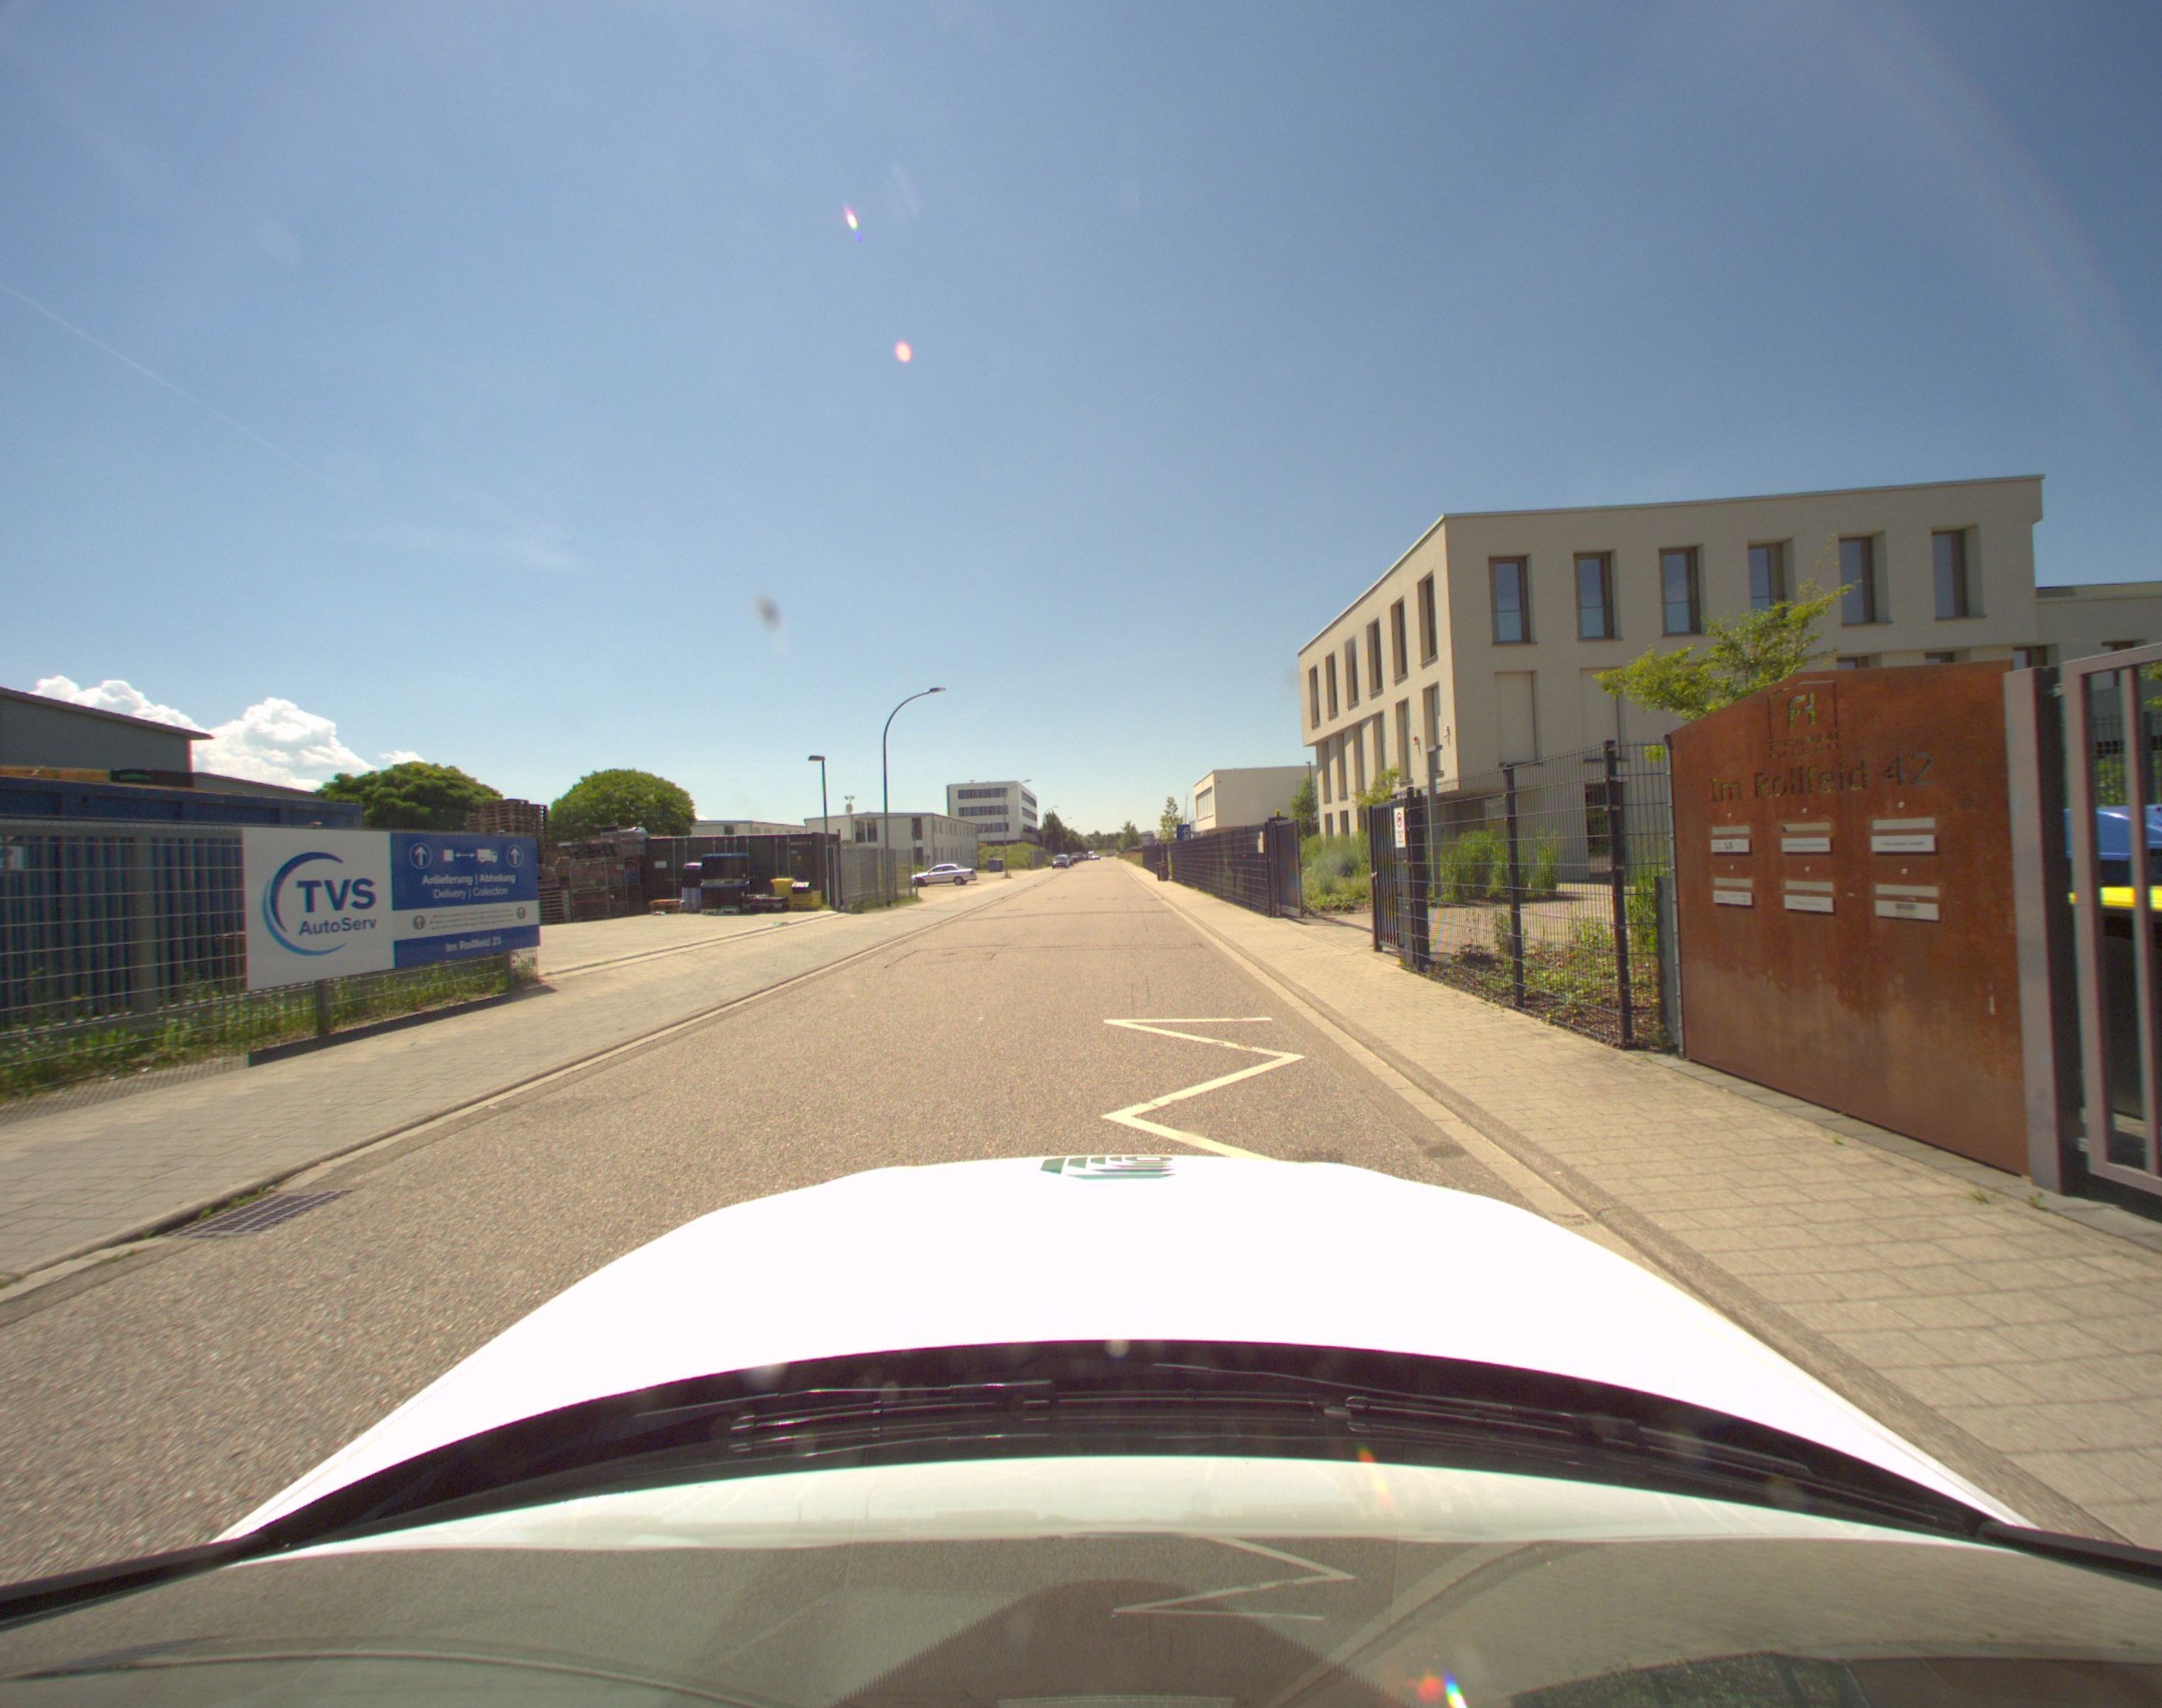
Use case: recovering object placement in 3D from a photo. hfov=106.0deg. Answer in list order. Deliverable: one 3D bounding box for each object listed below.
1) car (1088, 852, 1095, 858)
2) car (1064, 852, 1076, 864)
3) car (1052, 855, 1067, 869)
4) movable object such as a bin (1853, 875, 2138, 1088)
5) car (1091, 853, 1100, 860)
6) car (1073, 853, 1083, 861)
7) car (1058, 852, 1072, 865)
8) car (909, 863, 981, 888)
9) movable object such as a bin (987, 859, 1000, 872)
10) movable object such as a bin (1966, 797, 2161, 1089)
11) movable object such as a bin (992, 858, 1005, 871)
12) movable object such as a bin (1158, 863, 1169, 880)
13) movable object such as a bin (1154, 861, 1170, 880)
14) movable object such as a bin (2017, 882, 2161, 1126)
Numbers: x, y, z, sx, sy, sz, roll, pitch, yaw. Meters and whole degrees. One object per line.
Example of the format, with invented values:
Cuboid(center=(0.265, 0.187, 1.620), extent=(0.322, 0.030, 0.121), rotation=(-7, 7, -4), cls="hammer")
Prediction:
Cuboid(center=(2.727, 0.233, 216.313), extent=(1.797, 1.557, 4.002), rotation=(-3, 0, 2), cls="car")
Cuboid(center=(-1.501, 0.530, 110.565), extent=(1.461, 1.489, 3.209), rotation=(-2, 0, 2), cls="car")
Cuboid(center=(-2.507, 0.893, 94.407), extent=(1.461, 1.489, 3.209), rotation=(-2, 0, 2), cls="car")
Cuboid(center=(5.101, 0.662, 4.616), extent=(0.541, 1.036, 0.913), rotation=(-3, 0, 1), cls="movable object such as a bin")
Cuboid(center=(3.305, 0.535, 182.818), extent=(1.797, 1.557, 4.002), rotation=(-3, 0, 2), cls="car")
Cuboid(center=(-0.581, 0.544, 149.690), extent=(1.638, 1.489, 3.209), rotation=(-2, 0, 2), cls="car")
Cuboid(center=(-1.998, 0.571, 101.289), extent=(1.461, 1.489, 3.209), rotation=(-2, 0, 2), cls="car")
Cuboid(center=(-8.865, 1.377, 53.283), extent=(4.262, 1.364, 1.898), rotation=(-3, 0, 1), cls="car")
Cuboid(center=(-9.486, 1.250, 88.291), extent=(1.282, 1.412, 1.805), rotation=(-2, 0, -2), cls="movable object such as a bin")
Cuboid(center=(6.058, 0.413, 4.449), extent=(1.329, 1.459, 0.949), rotation=(-3, -1, 1), cls="movable object such as a bin")
Cuboid(center=(-9.288, 1.132, 91.880), extent=(1.282, 1.412, 1.805), rotation=(-2, 0, -2), cls="movable object such as a bin")
Cuboid(center=(4.694, 0.996, 46.392), extent=(0.549, 0.928, 0.523), rotation=(-7, 1, 6), cls="movable object such as a bin")
Cuboid(center=(4.697, 0.949, 47.325), extent=(0.775, 1.019, 0.666), rotation=(-7, 1, 6), cls="movable object such as a bin")
Cuboid(center=(5.079, 0.675, 3.808), extent=(0.602, 1.036, 0.651), rotation=(-3, -1, 2), cls="movable object such as a bin")
